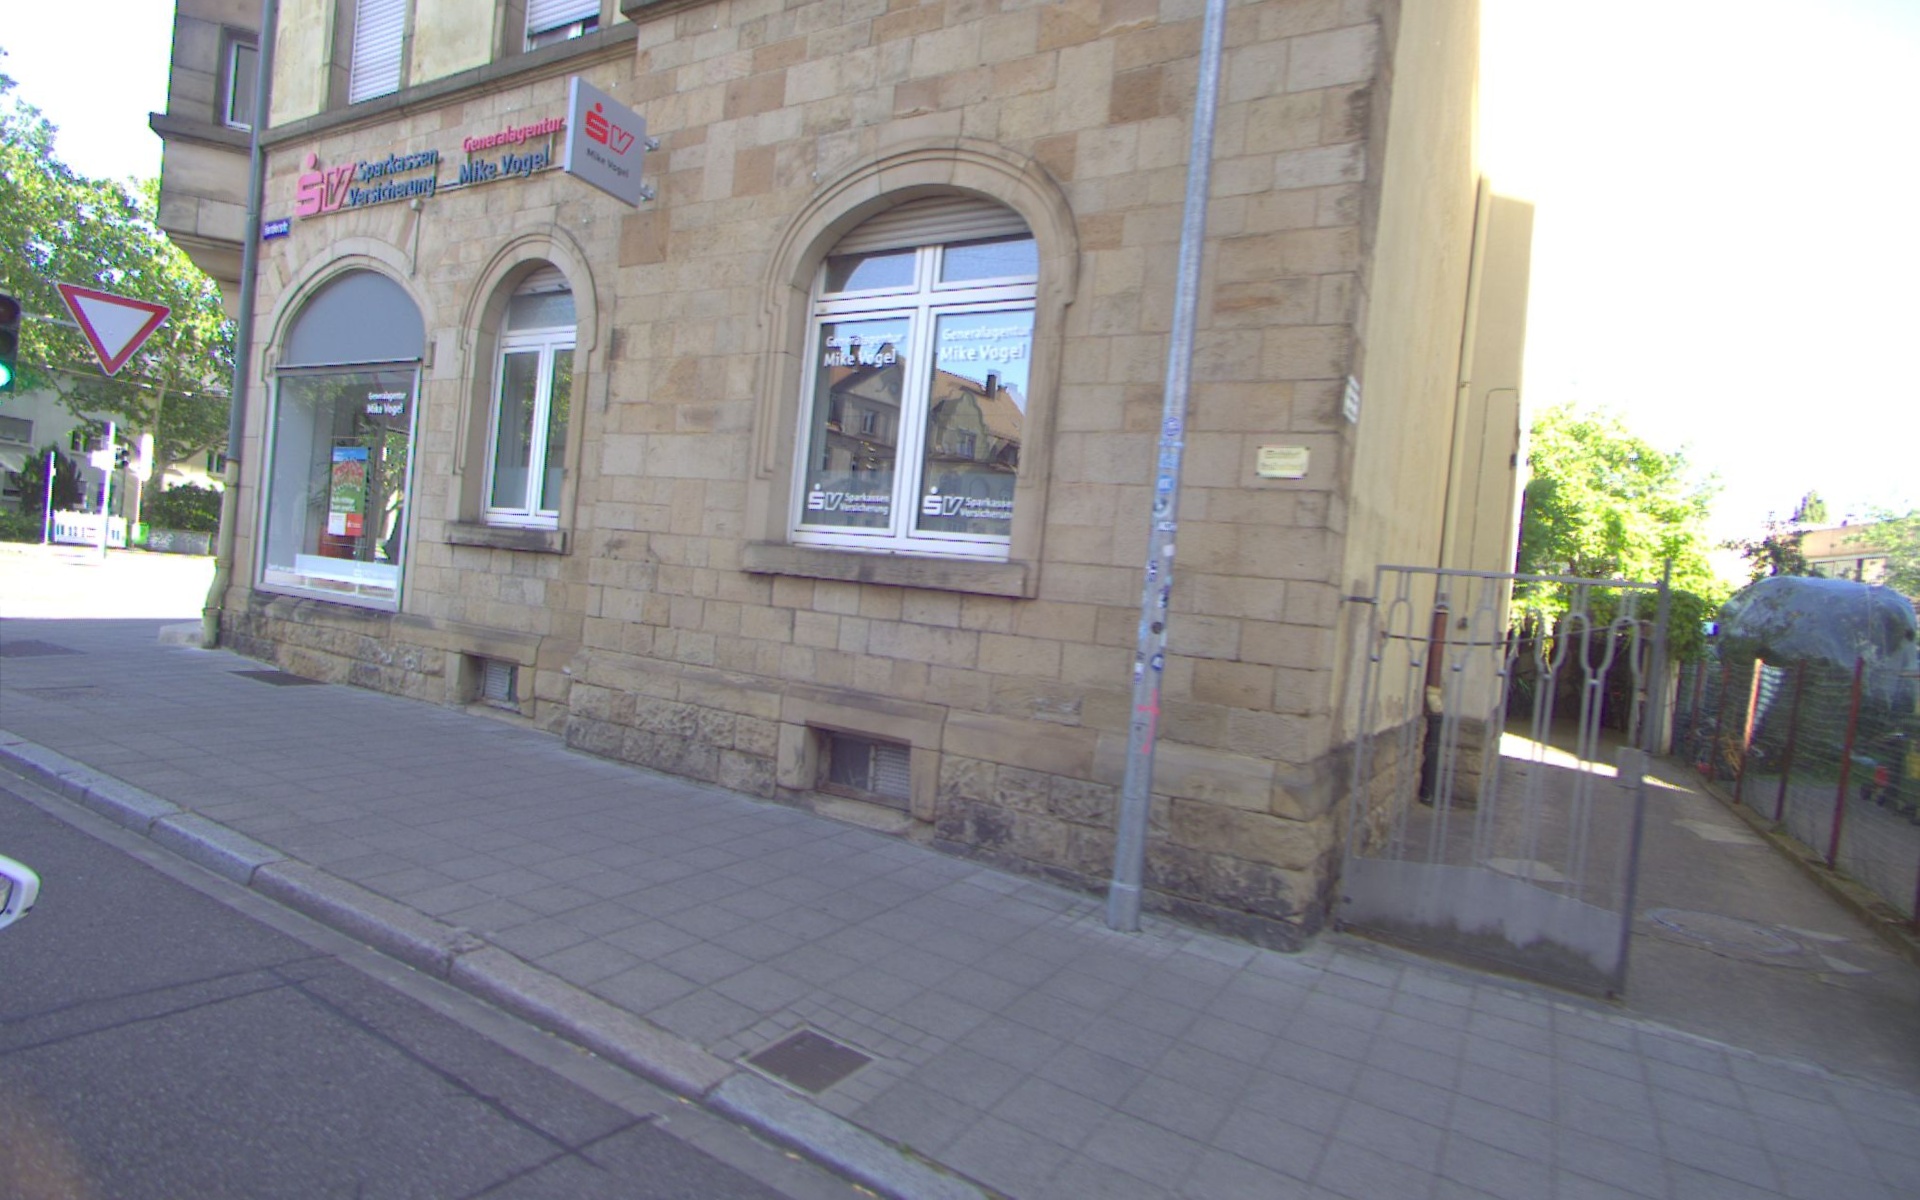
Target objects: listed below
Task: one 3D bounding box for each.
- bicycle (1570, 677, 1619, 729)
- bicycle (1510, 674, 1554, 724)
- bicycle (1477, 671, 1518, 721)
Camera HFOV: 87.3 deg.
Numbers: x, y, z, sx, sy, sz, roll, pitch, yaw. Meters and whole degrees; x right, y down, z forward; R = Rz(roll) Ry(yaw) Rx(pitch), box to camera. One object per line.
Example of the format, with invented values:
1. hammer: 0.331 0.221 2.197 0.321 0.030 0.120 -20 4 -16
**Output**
1. bicycle: 14.554 2.336 23.113 0.642 1.022 1.985 4 -1 25
2. bicycle: 13.296 2.276 23.424 0.642 1.022 1.985 4 -1 25
3. bicycle: 12.696 2.238 23.791 0.641 1.022 1.985 6 0 25
